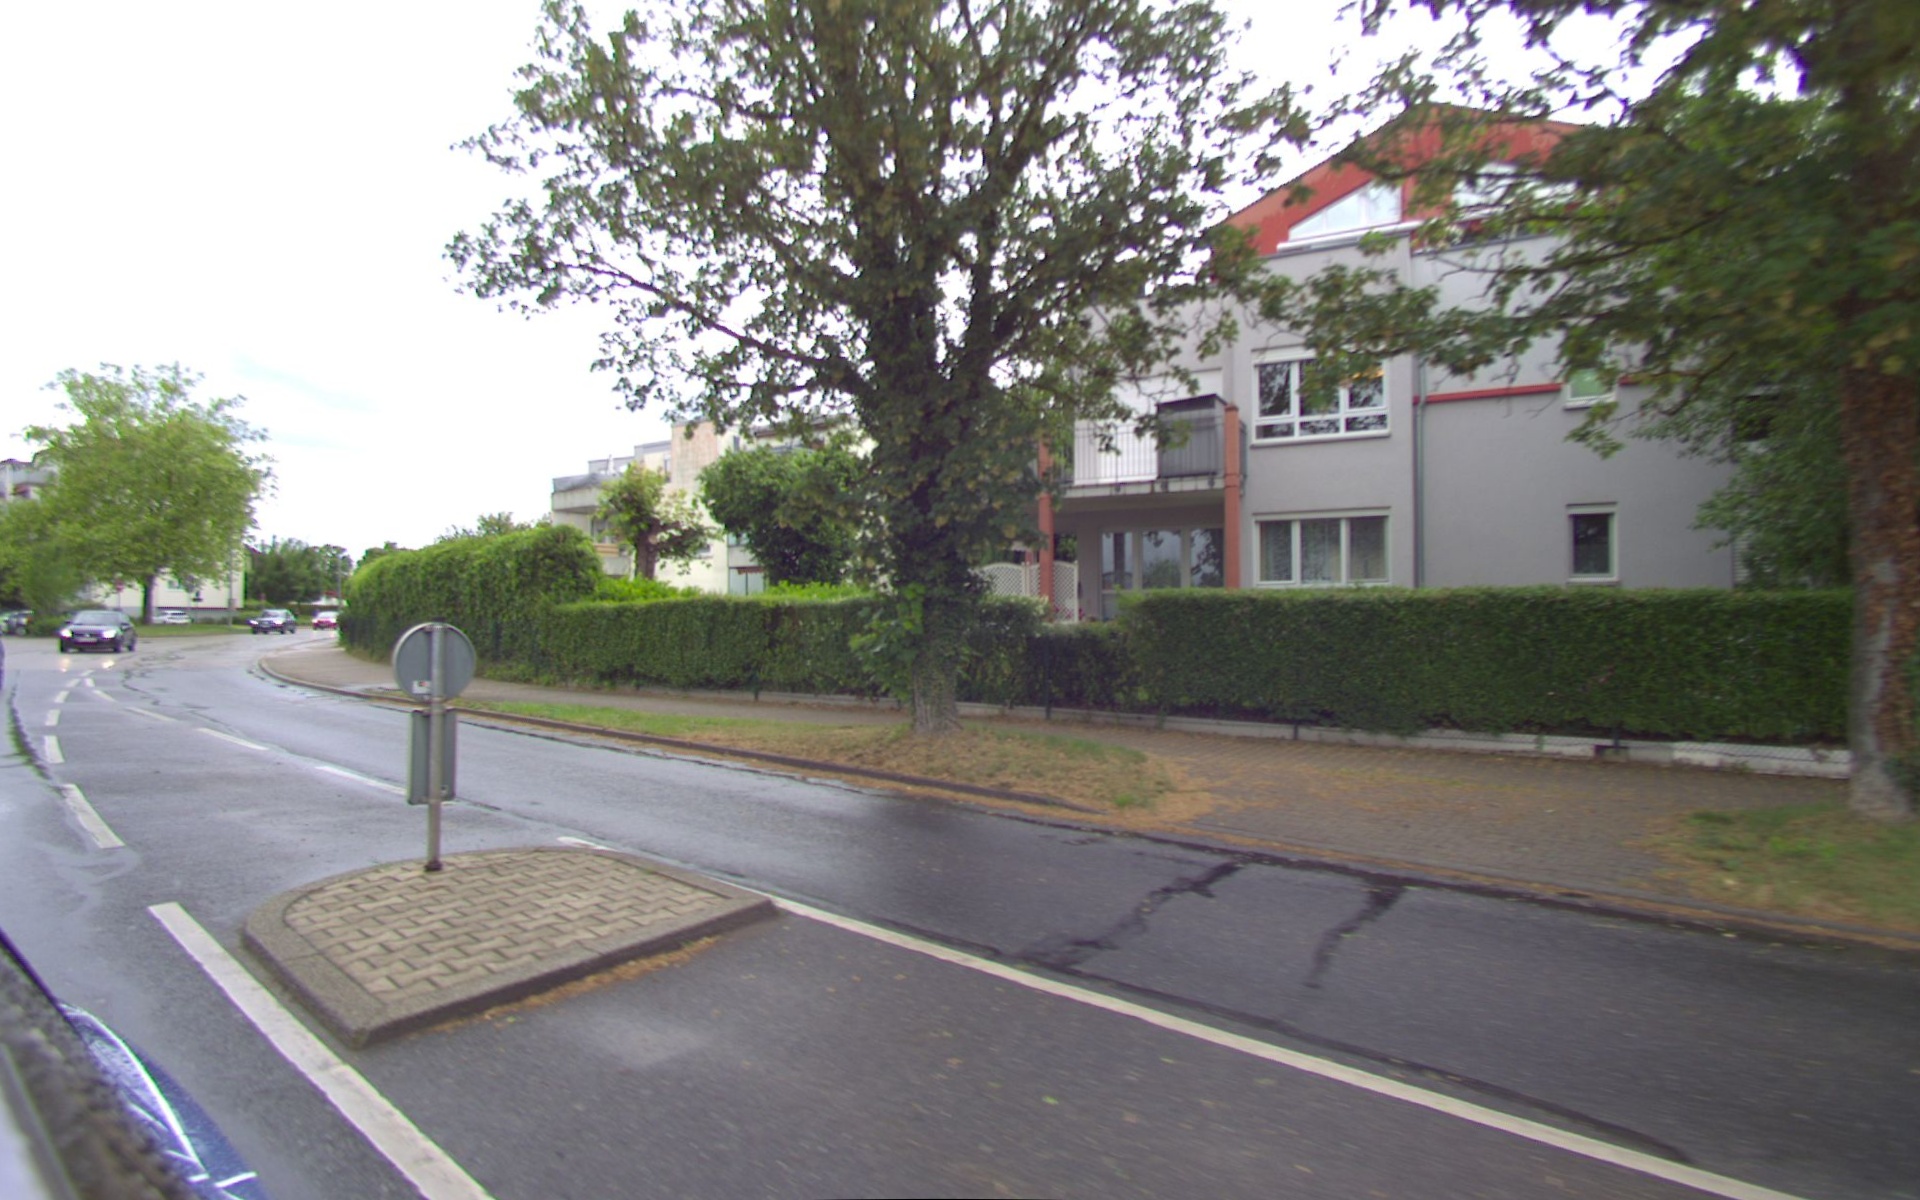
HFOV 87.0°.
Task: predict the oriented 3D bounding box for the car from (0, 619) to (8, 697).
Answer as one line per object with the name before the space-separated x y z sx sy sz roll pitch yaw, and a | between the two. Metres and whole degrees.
car | -17.681 1.030 17.146 1.884 1.444 4.309 2 -2 -39

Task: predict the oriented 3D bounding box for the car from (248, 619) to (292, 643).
car | -46.176 2.083 67.769 1.810 1.562 4.013 0 -1 -25

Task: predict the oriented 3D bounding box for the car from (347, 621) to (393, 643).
car | -47.517 2.574 81.593 1.865 1.623 4.878 -1 0 -14

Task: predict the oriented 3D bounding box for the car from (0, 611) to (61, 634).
car | -59.176 1.415 63.340 3.953 1.381 1.770 2 -2 -27

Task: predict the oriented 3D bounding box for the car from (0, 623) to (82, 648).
car | -55.960 2.144 61.225 3.953 1.454 1.770 2 -2 -27

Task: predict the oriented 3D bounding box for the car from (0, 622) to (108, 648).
car | -53.172 2.057 59.428 4.508 1.454 1.770 2 -2 -27

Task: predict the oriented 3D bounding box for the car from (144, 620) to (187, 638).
car | -69.139 2.508 88.021 3.756 1.492 1.728 -1 -2 32

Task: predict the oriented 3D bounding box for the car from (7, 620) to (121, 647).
car | -50.946 1.926 57.670 4.508 1.454 1.770 2 -2 -27

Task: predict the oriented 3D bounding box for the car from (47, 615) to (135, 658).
car | -31.263 1.302 36.513 1.811 1.460 4.011 1 -2 -32
